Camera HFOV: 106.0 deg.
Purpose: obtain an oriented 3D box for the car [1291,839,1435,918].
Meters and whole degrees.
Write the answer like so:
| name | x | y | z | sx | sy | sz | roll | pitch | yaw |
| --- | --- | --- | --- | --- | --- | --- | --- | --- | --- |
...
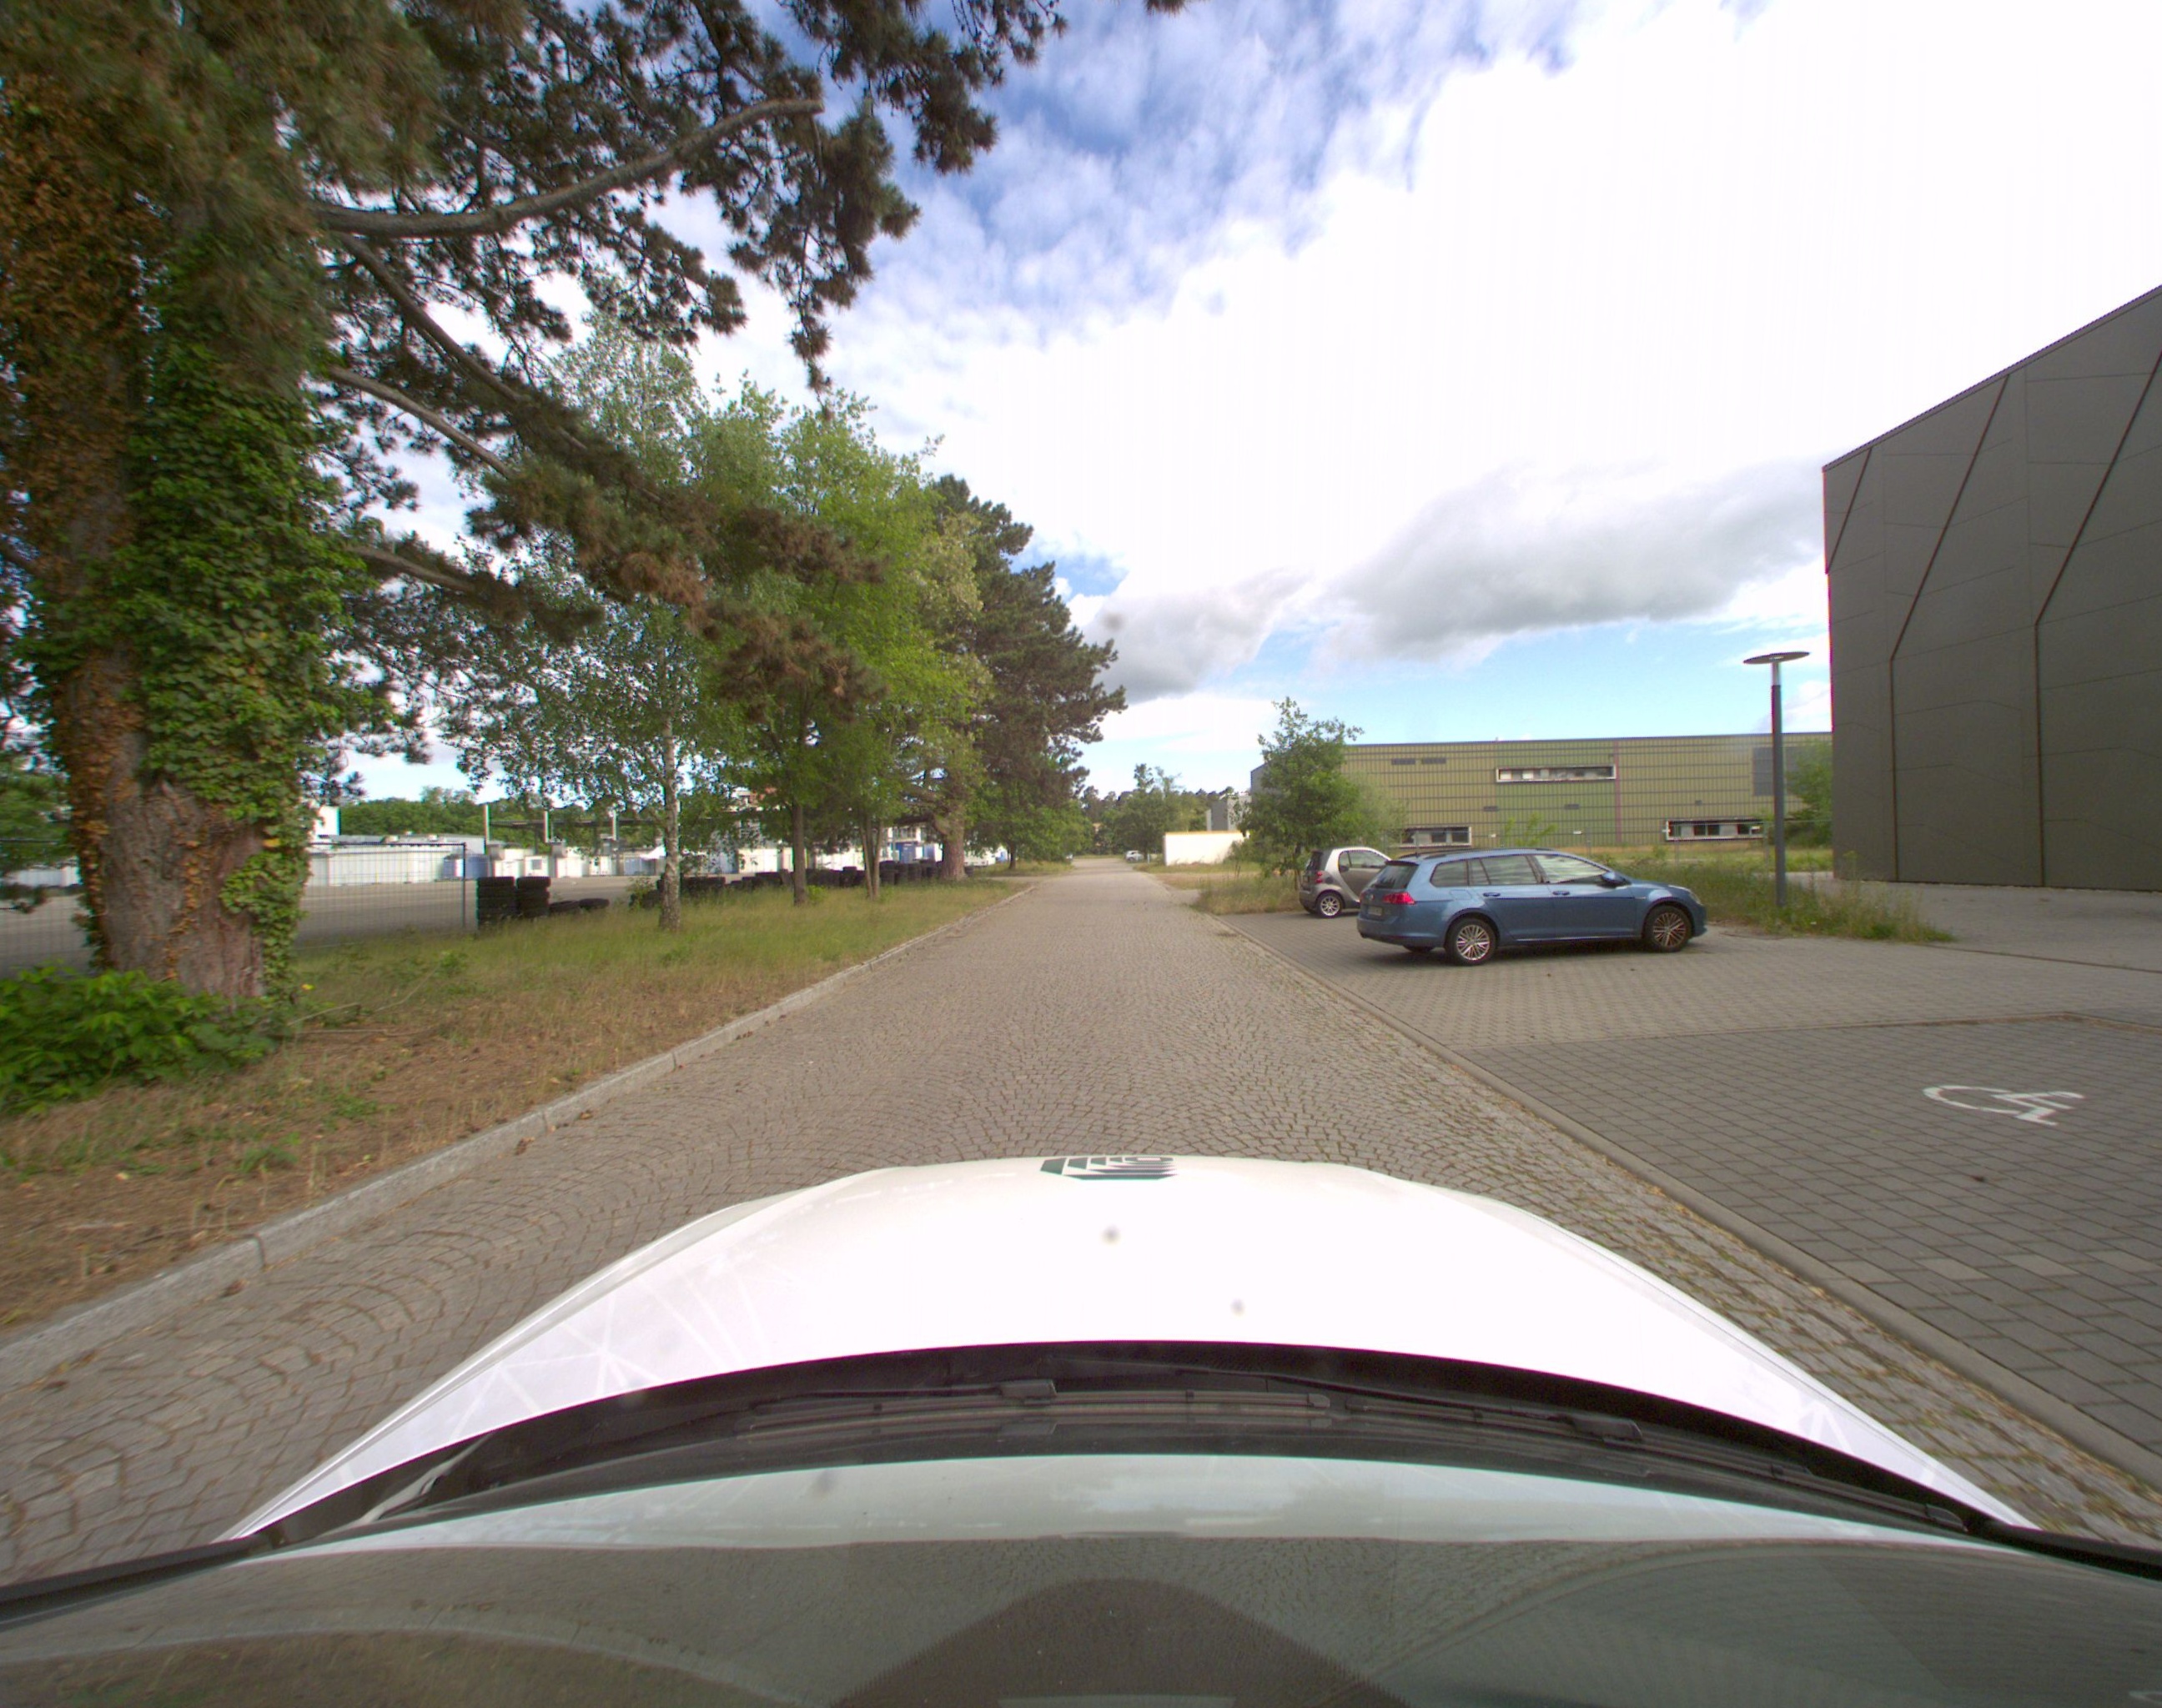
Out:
| name | x | y | z | sx | sy | sz | roll | pitch | yaw |
| --- | --- | --- | --- | --- | --- | --- | --- | --- | --- |
| car | 6.388 | 0.537 | 18.698 | 2.699 | 1.556 | 1.655 | -4 | 0 | 2 |

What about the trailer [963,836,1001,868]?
| name | x | y | z | sx | sy | sz | roll | pitch | yaw |
| --- | --- | --- | --- | --- | --- | --- | --- | --- | --- |
| trailer | -11.854 | -0.237 | 98.662 | 2.614 | 3.598 | 10.188 | -1 | 0 | 4 |

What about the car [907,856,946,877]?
| name | x | y | z | sx | sy | sz | roll | pitch | yaw |
| --- | --- | --- | --- | --- | --- | --- | --- | --- | --- |
| car | -11.471 | 0.903 | 60.598 | 1.617 | 1.433 | 4.072 | -2 | 1 | 7 |

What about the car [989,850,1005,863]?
| name | x | y | z | sx | sy | sz | roll | pitch | yaw |
| --- | --- | --- | --- | --- | --- | --- | --- | --- | --- |
| car | -14.271 | 0.401 | 138.526 | 1.986 | 2.013 | 4.770 | -1 | 0 | 2 |

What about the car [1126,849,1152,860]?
| name | x | y | z | sx | sy | sz | roll | pitch | yaw |
| --- | --- | --- | --- | --- | --- | --- | --- | --- | --- |
| car | 9.316 | 0.077 | 131.203 | 3.969 | 1.448 | 1.654 | -4 | 0 | 2 |

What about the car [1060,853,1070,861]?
| name | x | y | z | sx | sy | sz | roll | pitch | yaw |
| --- | --- | --- | --- | --- | --- | --- | --- | --- | --- |
| car | -2.973 | 0.500 | 150.330 | 1.641 | 1.369 | 3.999 | -1 | 0 | 2 |

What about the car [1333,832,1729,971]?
| name | x | y | z | sx | sy | sz | roll | pitch | yaw |
| --- | --- | --- | --- | --- | --- | --- | --- | --- | --- |
| car | 6.064 | 0.595 | 11.347 | 4.478 | 1.475 | 1.830 | -4 | 0 | -1 |

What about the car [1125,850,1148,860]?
| name | x | y | z | sx | sy | sz | roll | pitch | yaw |
| --- | --- | --- | --- | --- | --- | --- | --- | --- | --- |
| car | 8.694 | 0.190 | 128.520 | 3.509 | 1.362 | 1.623 | -3 | 0 | 2 |
